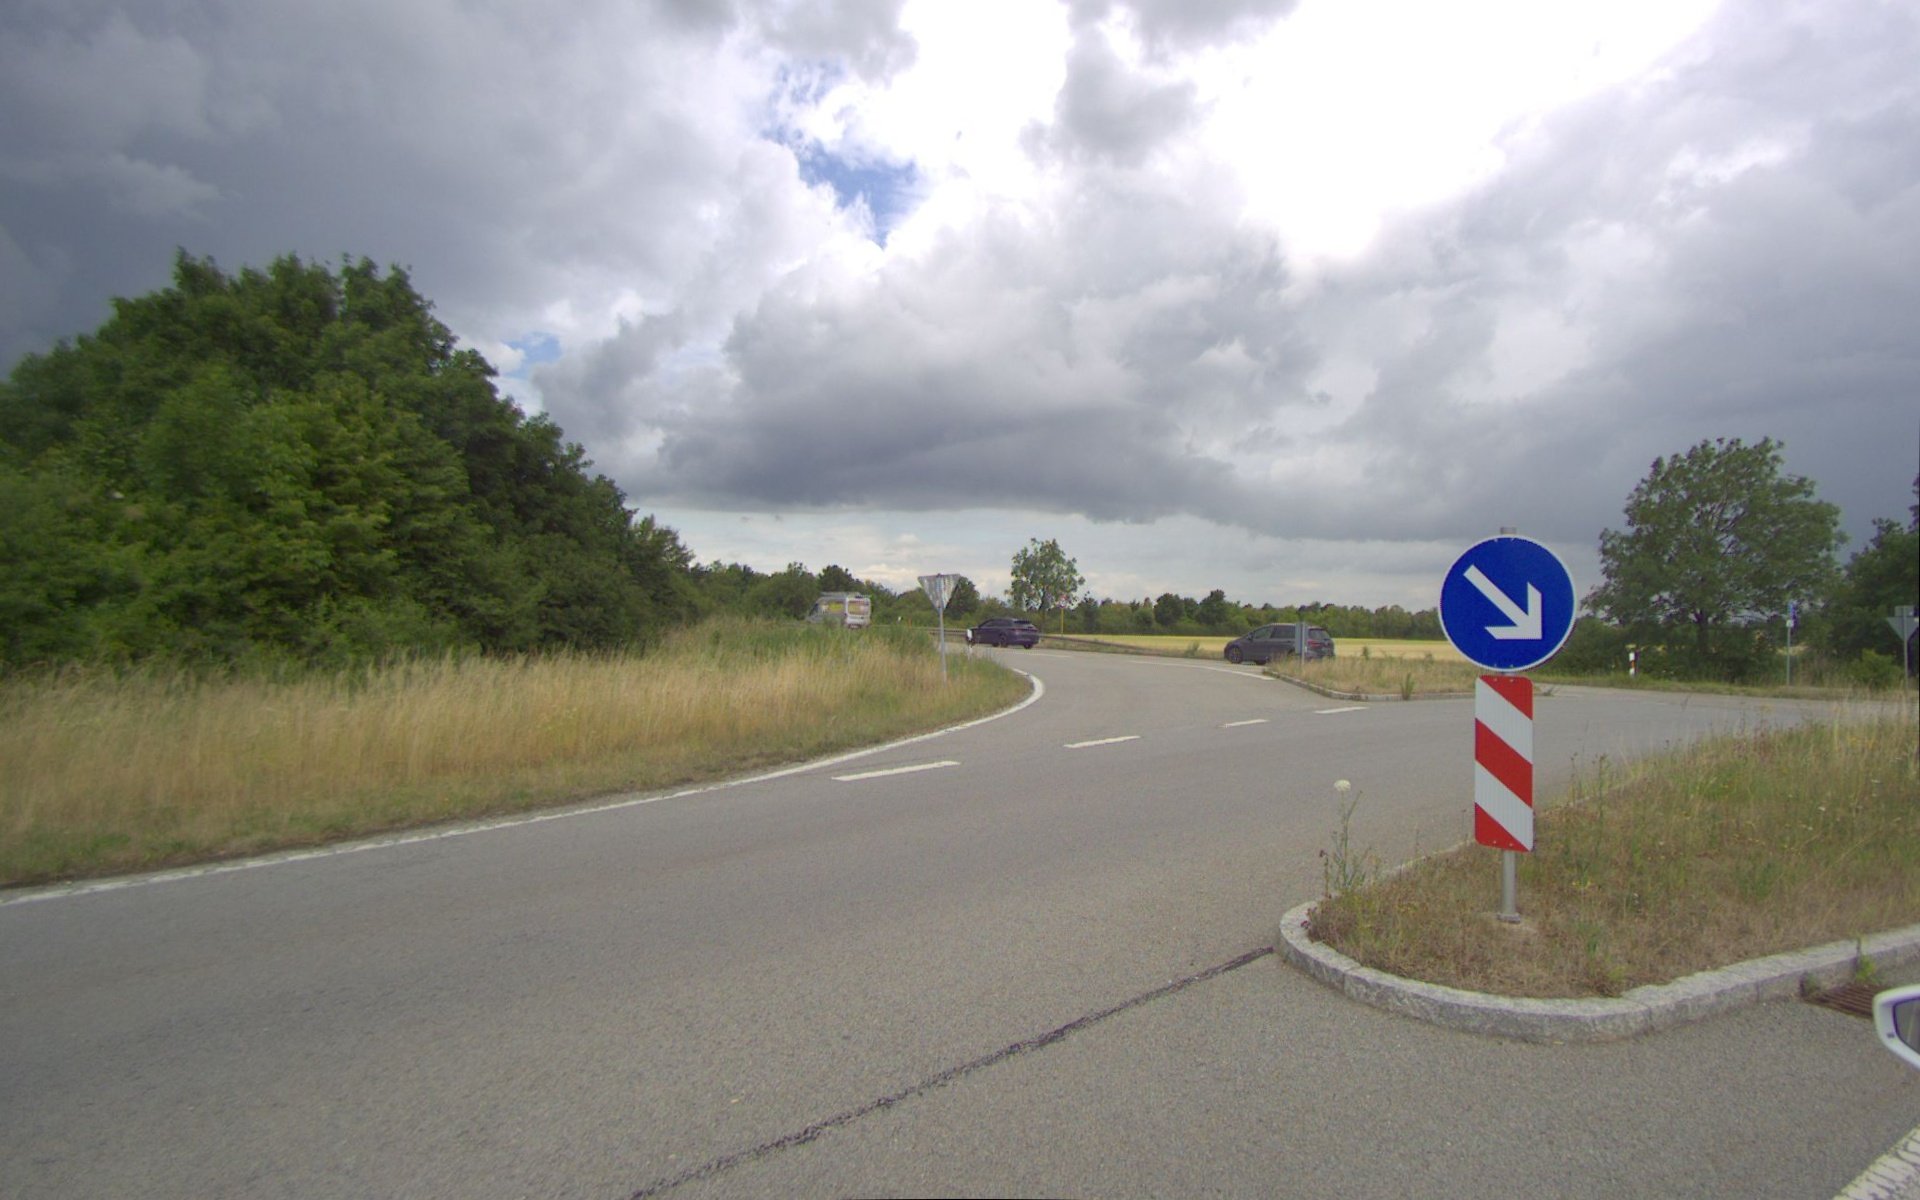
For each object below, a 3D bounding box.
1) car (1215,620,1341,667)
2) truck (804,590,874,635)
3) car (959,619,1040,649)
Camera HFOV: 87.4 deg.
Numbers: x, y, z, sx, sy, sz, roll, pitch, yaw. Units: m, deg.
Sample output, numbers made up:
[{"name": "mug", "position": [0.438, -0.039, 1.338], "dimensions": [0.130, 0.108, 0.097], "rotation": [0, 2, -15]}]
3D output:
[{"name": "car", "position": [11.806, 1.592, 37.541], "dimensions": [1.979, 1.622, 4.185], "rotation": [1, -2, -34]}, {"name": "truck", "position": [-7.871, 0.813, 64.744], "dimensions": [2.044, 2.739, 5.988], "rotation": [1, -1, -33]}, {"name": "car", "position": [1.884, 1.629, 49.212], "dimensions": [1.666, 1.362, 4.311], "rotation": [1, -1, -36]}]
